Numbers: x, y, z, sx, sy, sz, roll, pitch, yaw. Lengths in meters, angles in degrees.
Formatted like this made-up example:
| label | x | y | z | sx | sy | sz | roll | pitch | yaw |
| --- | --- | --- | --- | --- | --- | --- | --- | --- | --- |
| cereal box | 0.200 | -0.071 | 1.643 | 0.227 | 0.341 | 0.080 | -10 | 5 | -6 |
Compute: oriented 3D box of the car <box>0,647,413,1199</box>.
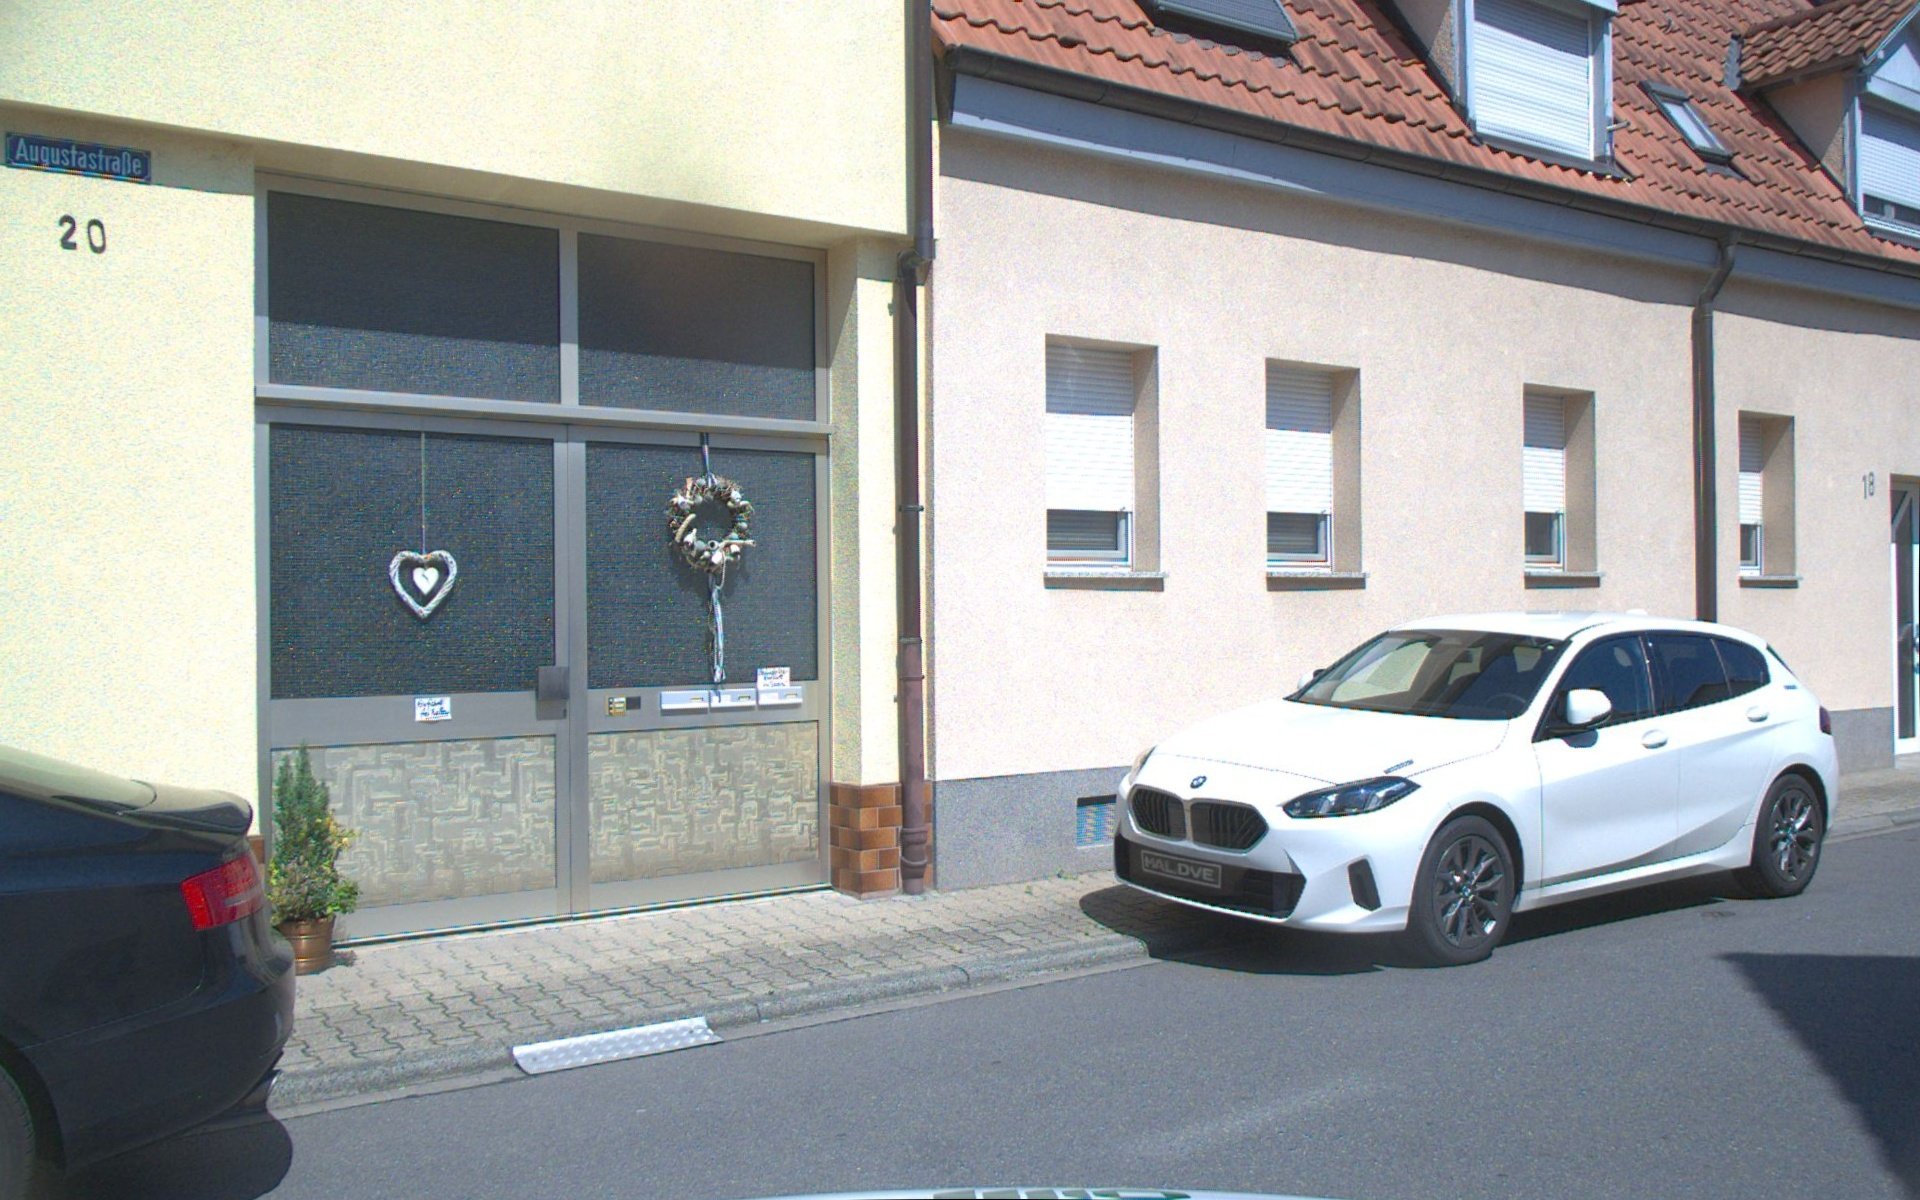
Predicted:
| label | x | y | z | sx | sy | sz | roll | pitch | yaw |
| --- | --- | --- | --- | --- | --- | --- | --- | --- | --- |
| car | -3.764 | 0.901 | 3.539 | 4.580 | 1.419 | 1.903 | 0 | -4 | -36 |

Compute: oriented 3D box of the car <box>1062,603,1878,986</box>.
| label | x | y | z | sx | sy | sz | roll | pitch | yaw |
| --- | --- | --- | --- | --- | --- | --- | --- | --- | --- |
| car | 2.703 | 0.785 | 8.421 | 4.165 | 1.479 | 1.767 | 0 | -1 | -34 |
